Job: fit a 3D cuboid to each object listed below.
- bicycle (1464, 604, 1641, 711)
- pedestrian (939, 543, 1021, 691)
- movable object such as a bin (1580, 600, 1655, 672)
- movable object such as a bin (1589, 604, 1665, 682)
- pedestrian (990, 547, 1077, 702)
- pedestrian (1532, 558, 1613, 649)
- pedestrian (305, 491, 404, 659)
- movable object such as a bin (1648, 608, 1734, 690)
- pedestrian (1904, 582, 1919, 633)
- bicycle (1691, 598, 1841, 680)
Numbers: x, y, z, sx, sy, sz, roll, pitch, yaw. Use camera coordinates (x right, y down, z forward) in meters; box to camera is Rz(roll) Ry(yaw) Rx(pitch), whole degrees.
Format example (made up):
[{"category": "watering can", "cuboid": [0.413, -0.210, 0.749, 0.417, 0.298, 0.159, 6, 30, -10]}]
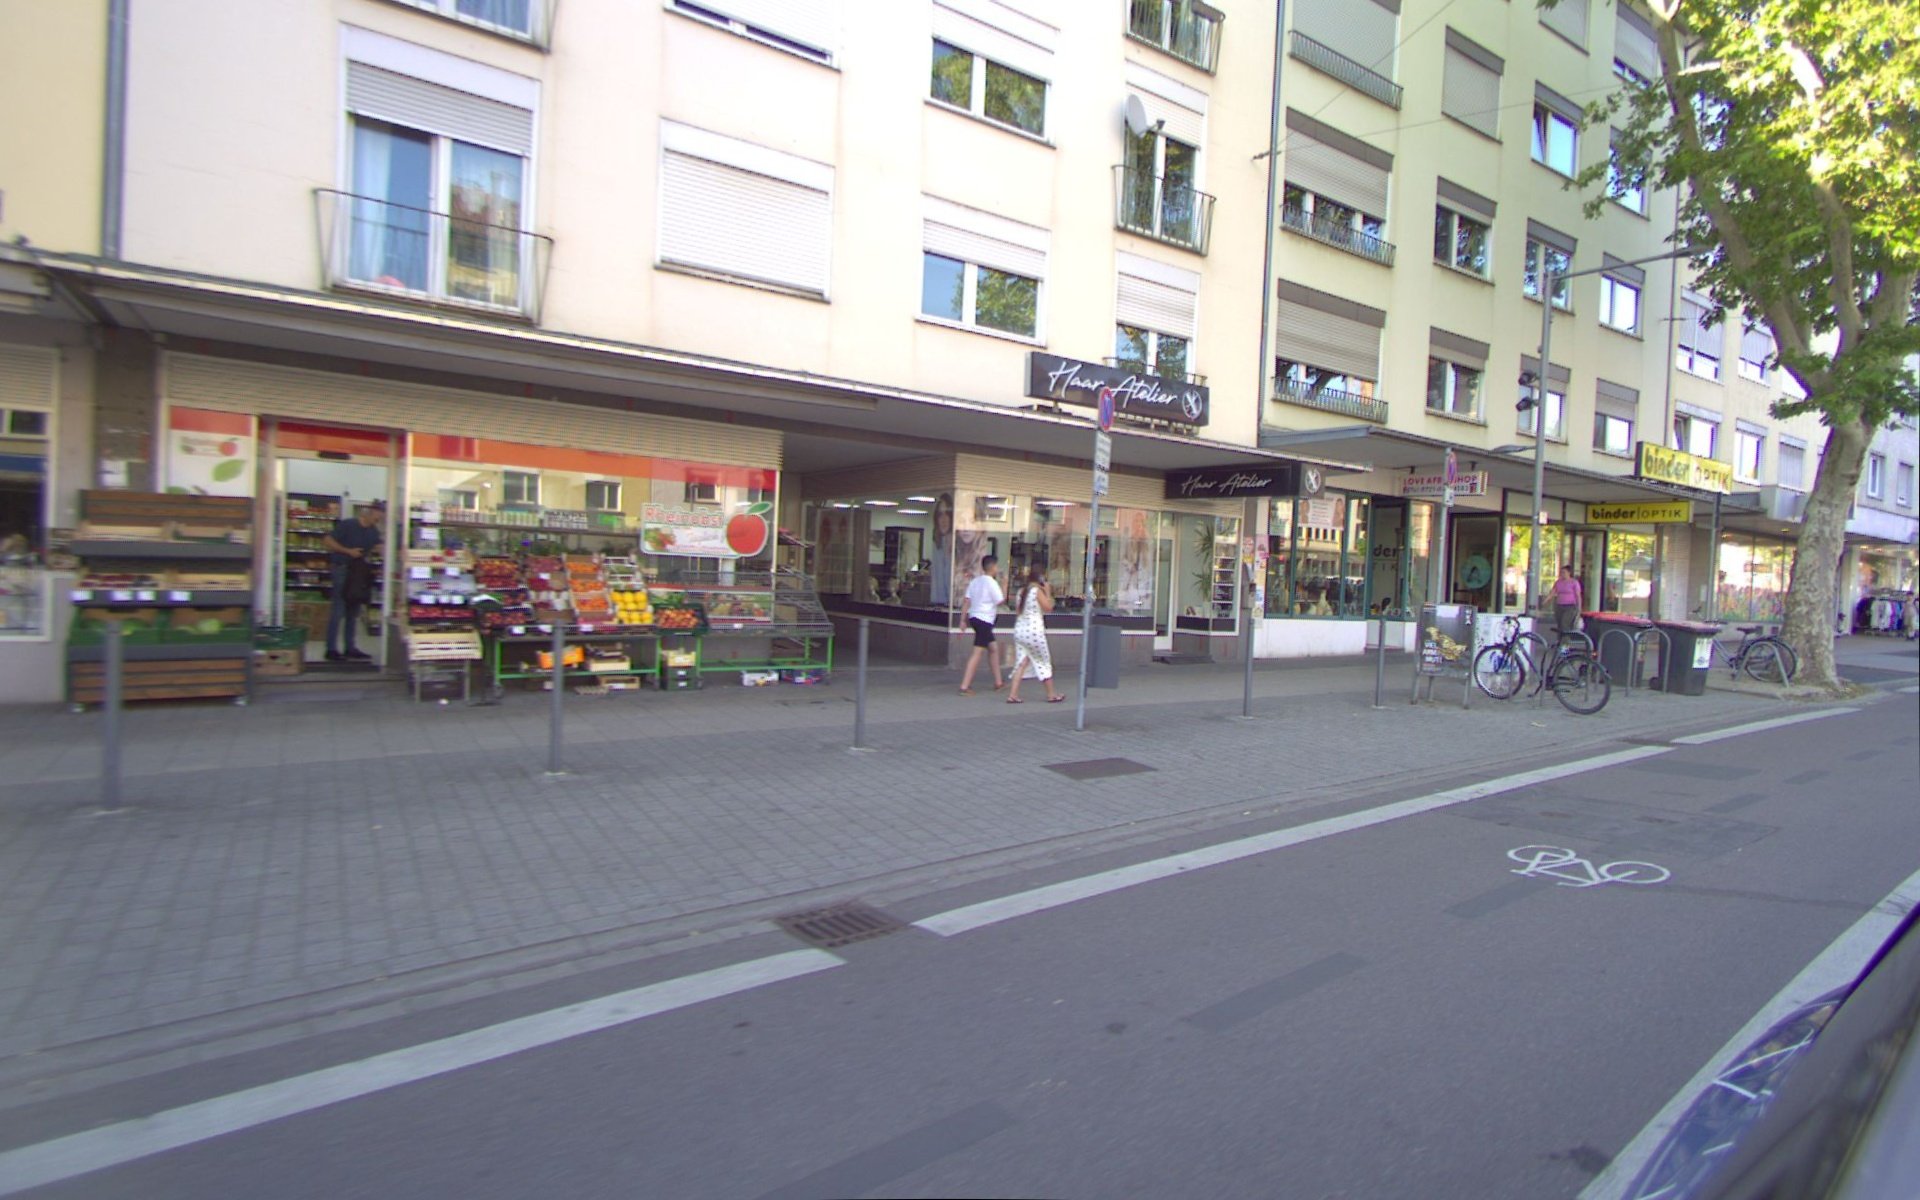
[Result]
[{"category": "bicycle", "cuboid": [7.495, 0.685, 12.910, 0.507, 1.118, 1.918, 1, 4, -27]}, {"category": "pedestrian", "cuboid": [0.223, 0.175, 11.504, 0.615, 1.605, 0.624, 0, 4, -35]}, {"category": "movable object such as a bin", "cuboid": [10.642, 0.569, 16.388, 0.630, 1.085, 0.726, 1, 3, -15]}, {"category": "movable object such as a bin", "cuboid": [10.271, 0.648, 15.584, 0.632, 1.084, 0.725, 0, 5, -36]}, {"category": "pedestrian", "cuboid": [0.803, 0.249, 11.066, 0.615, 1.605, 0.638, 0, 4, -35]}, {"category": "pedestrian", "cuboid": [12.644, 0.048, 20.891, 1.111, 1.784, 0.972, 0, 3, -33]}, {"category": "pedestrian", "cuboid": [-6.684, -0.267, 11.169, 0.864, 1.766, 0.686, 0, 0, -37]}, {"category": "movable object such as a bin", "cuboid": [10.862, 0.712, 15.049, 0.631, 1.115, 0.726, 1, 5, -27]}, {"category": "pedestrian", "cuboid": [29.137, 0.241, 30.622, 0.878, 1.520, 0.543, 2, 3, -33]}, {"category": "bicycle", "cuboid": [12.817, 0.583, 16.149, 0.731, 1.130, 1.724, -4, 4, -33]}]
